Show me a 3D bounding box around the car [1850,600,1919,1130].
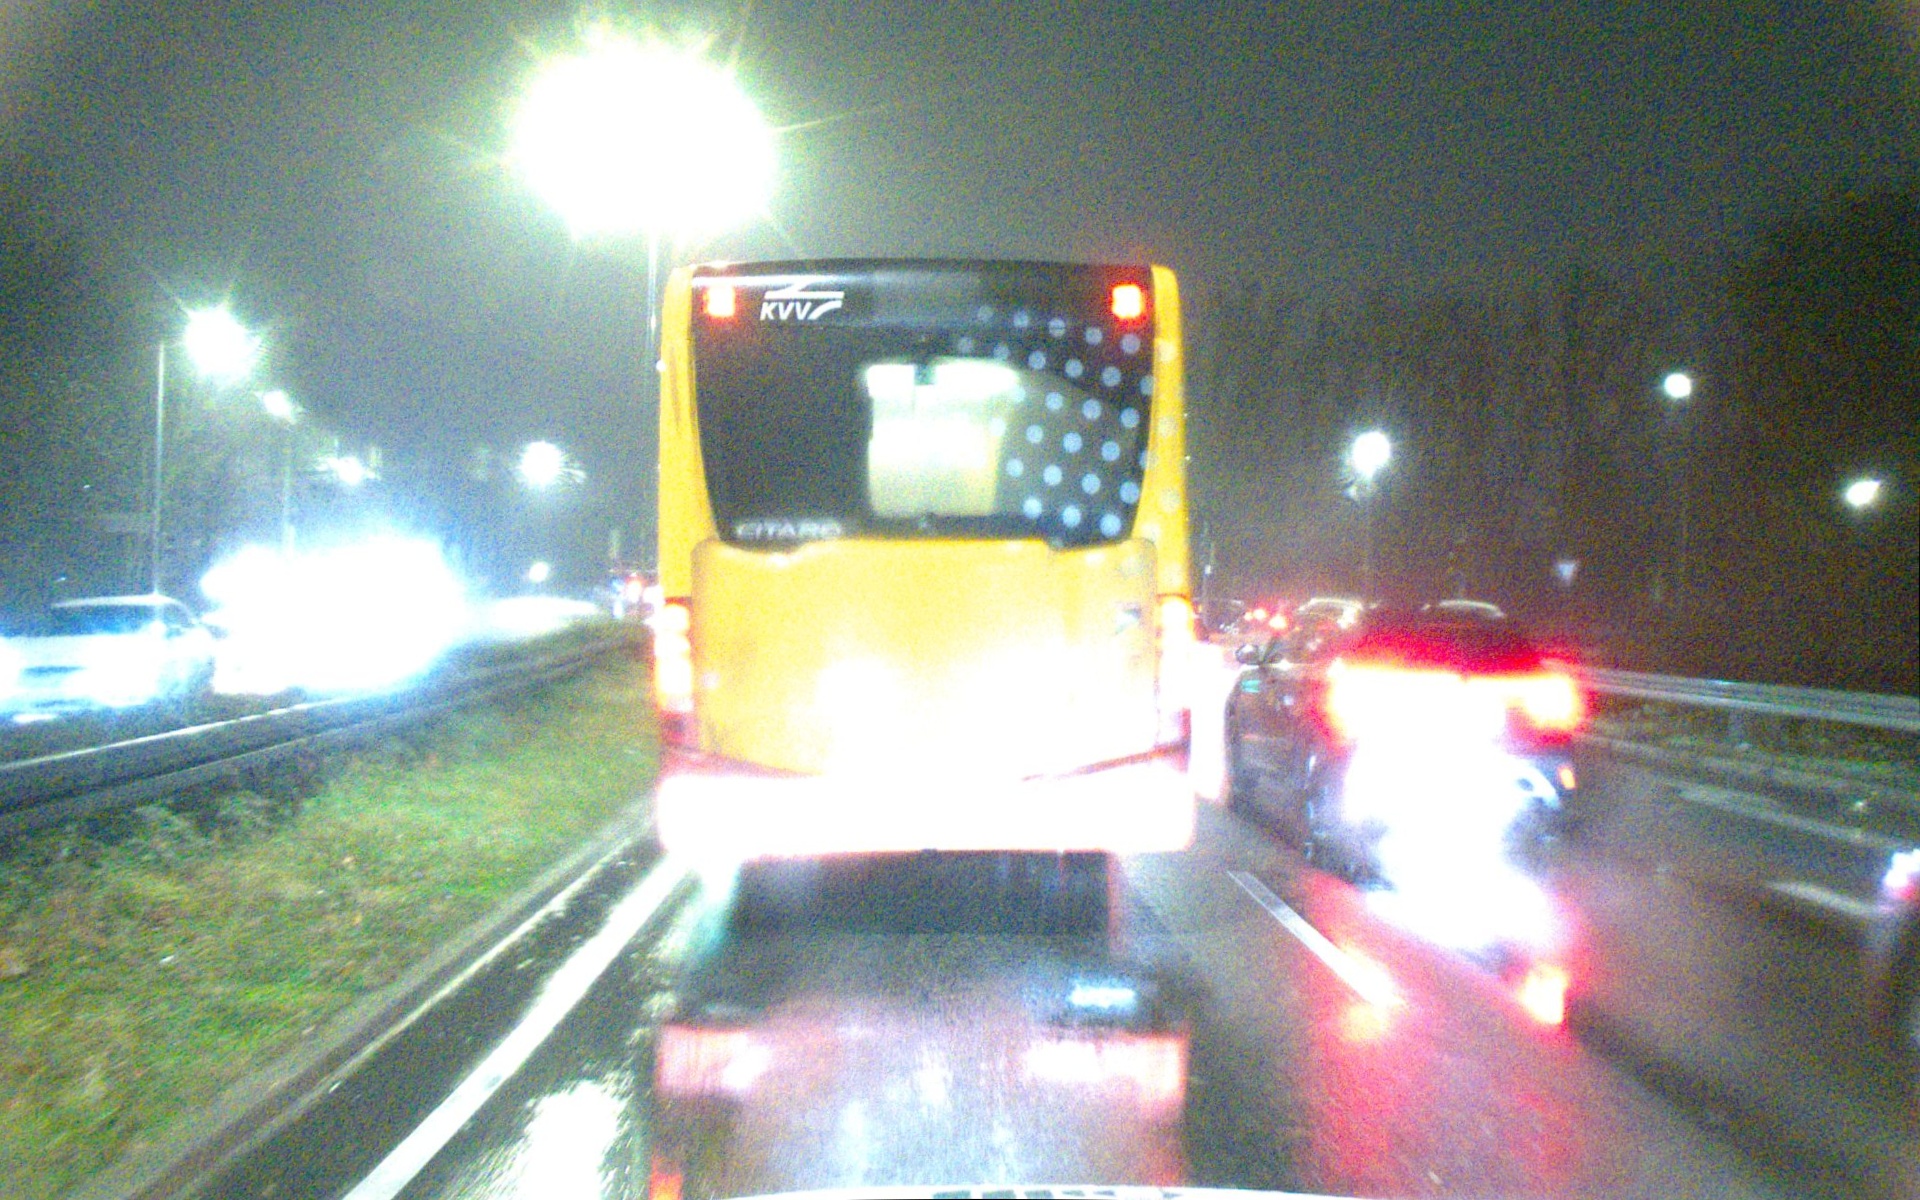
[{"bbox_3d":[3.639,0.771,2.894,1.639,1.533,4.558,3,-1,-1],"label":"car"}]

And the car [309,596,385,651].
[{"bbox_3d":[-18.896,0.702,51.103,1.817,1.598,3.494,0,1,-14],"label":"car"}]

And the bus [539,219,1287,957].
[{"bbox_3d":[-0.575,-0.141,11.870,3.221,3.103,9.534,0,1,-5],"label":"bus"}]

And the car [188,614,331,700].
[{"bbox_3d":[-14.814,1.170,35.208,1.732,1.659,4.242,1,0,-8],"label":"car"}]

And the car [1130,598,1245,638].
[{"bbox_3d":[8.572,0.680,62.368,3.967,1.369,1.744,1,1,-8],"label":"car"}]

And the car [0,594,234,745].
[{"bbox_3d":[-10.345,0.791,20.135,1.836,1.636,4.236,0,-1,-11],"label":"car"}]

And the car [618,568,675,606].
[{"bbox_3d":[-15.317,-0.625,80.733,1.966,1.751,3.973,1,-1,-22],"label":"car"}]

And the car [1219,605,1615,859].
[{"bbox_3d":[3.154,0.845,12.238,1.643,1.548,3.957,1,-1,-3],"label":"car"}]

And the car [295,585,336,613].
[{"bbox_3d":[-35.195,-0.036,90.292,1.721,1.528,3.964,1,-1,-27],"label":"car"}]

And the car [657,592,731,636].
[{"bbox_3d":[-10.746,0.570,66.612,2.061,1.672,3.702,1,-1,-24],"label":"car"}]

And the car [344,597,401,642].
[{"bbox_3d":[-22.499,0.741,63.475,1.746,1.621,4.540,0,0,-16],"label":"car"}]

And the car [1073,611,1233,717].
[{"bbox_3d":[2.674,0.870,23.695,1.652,1.354,3.958,-1,-1,-3],"label":"car"}]

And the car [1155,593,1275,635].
[{"bbox_3d":[10.280,0.547,66.808,4.399,1.545,1.854,1,1,-8],"label":"car"}]
